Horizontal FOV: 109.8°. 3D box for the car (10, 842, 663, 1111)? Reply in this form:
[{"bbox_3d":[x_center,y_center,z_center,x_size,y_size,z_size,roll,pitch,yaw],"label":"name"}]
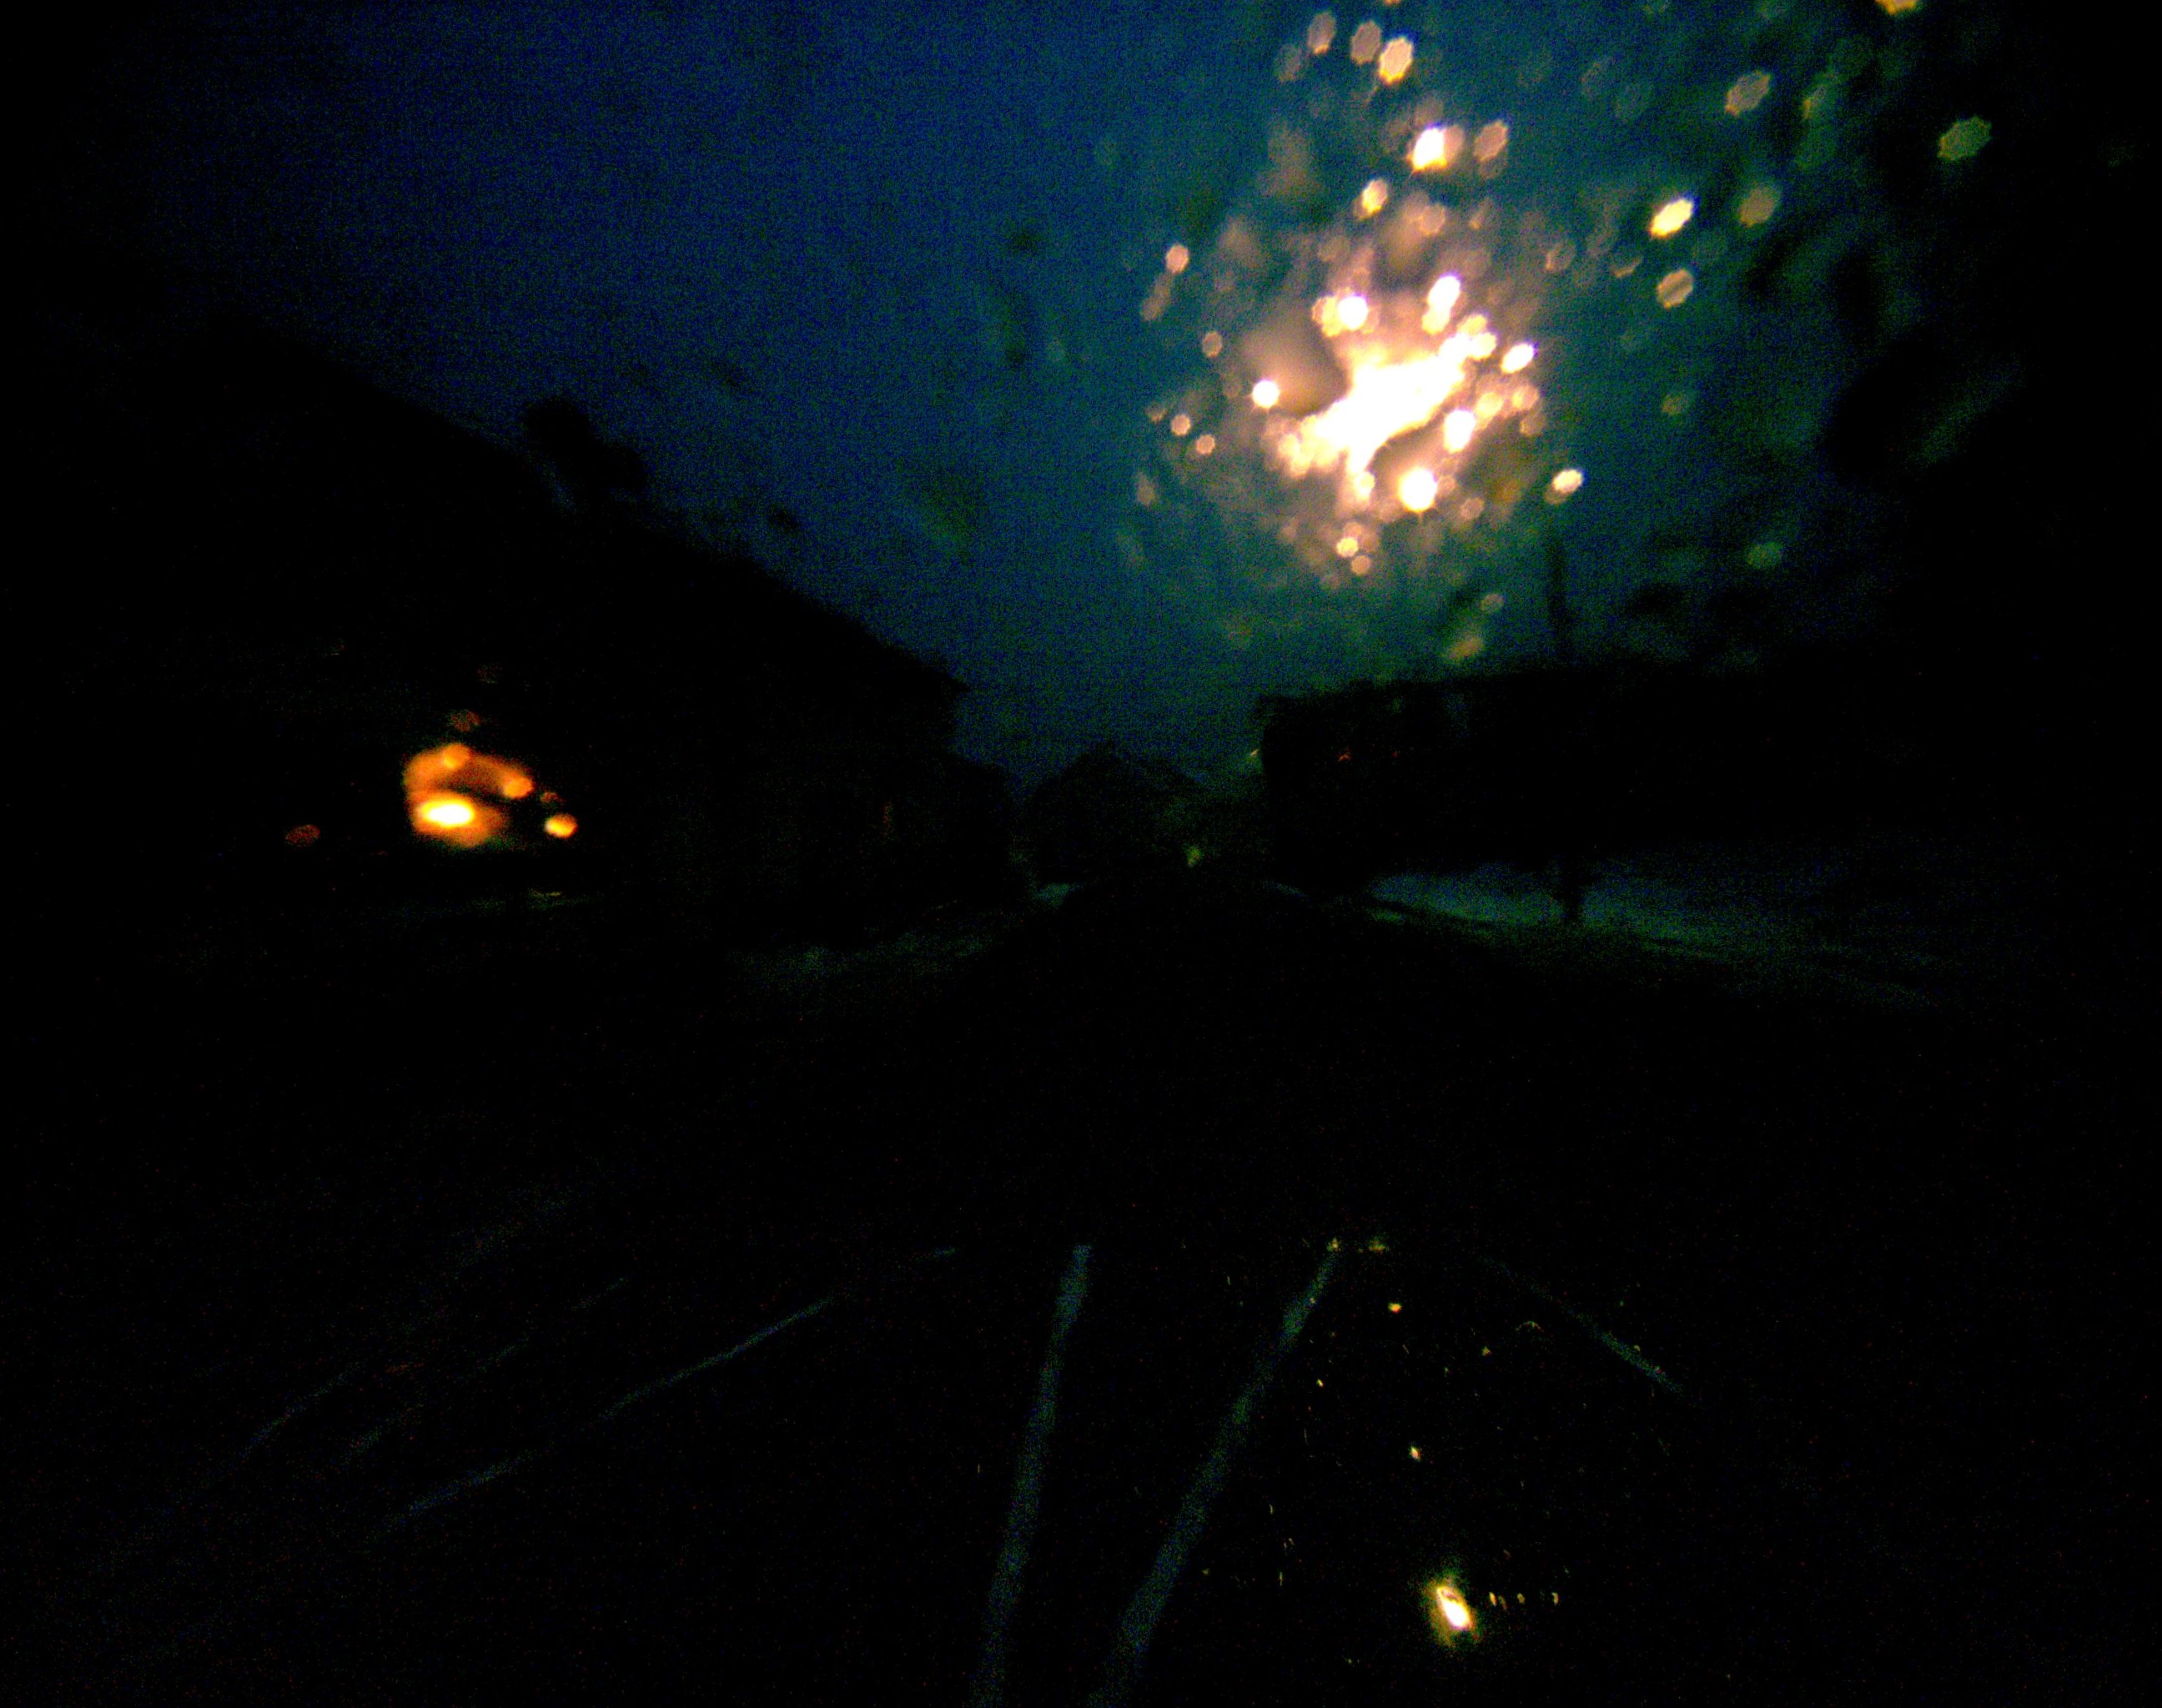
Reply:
[{"bbox_3d":[-6.213,0.891,6.587,4.213,1.848,1.912,-1,1,11],"label":"car"}]
